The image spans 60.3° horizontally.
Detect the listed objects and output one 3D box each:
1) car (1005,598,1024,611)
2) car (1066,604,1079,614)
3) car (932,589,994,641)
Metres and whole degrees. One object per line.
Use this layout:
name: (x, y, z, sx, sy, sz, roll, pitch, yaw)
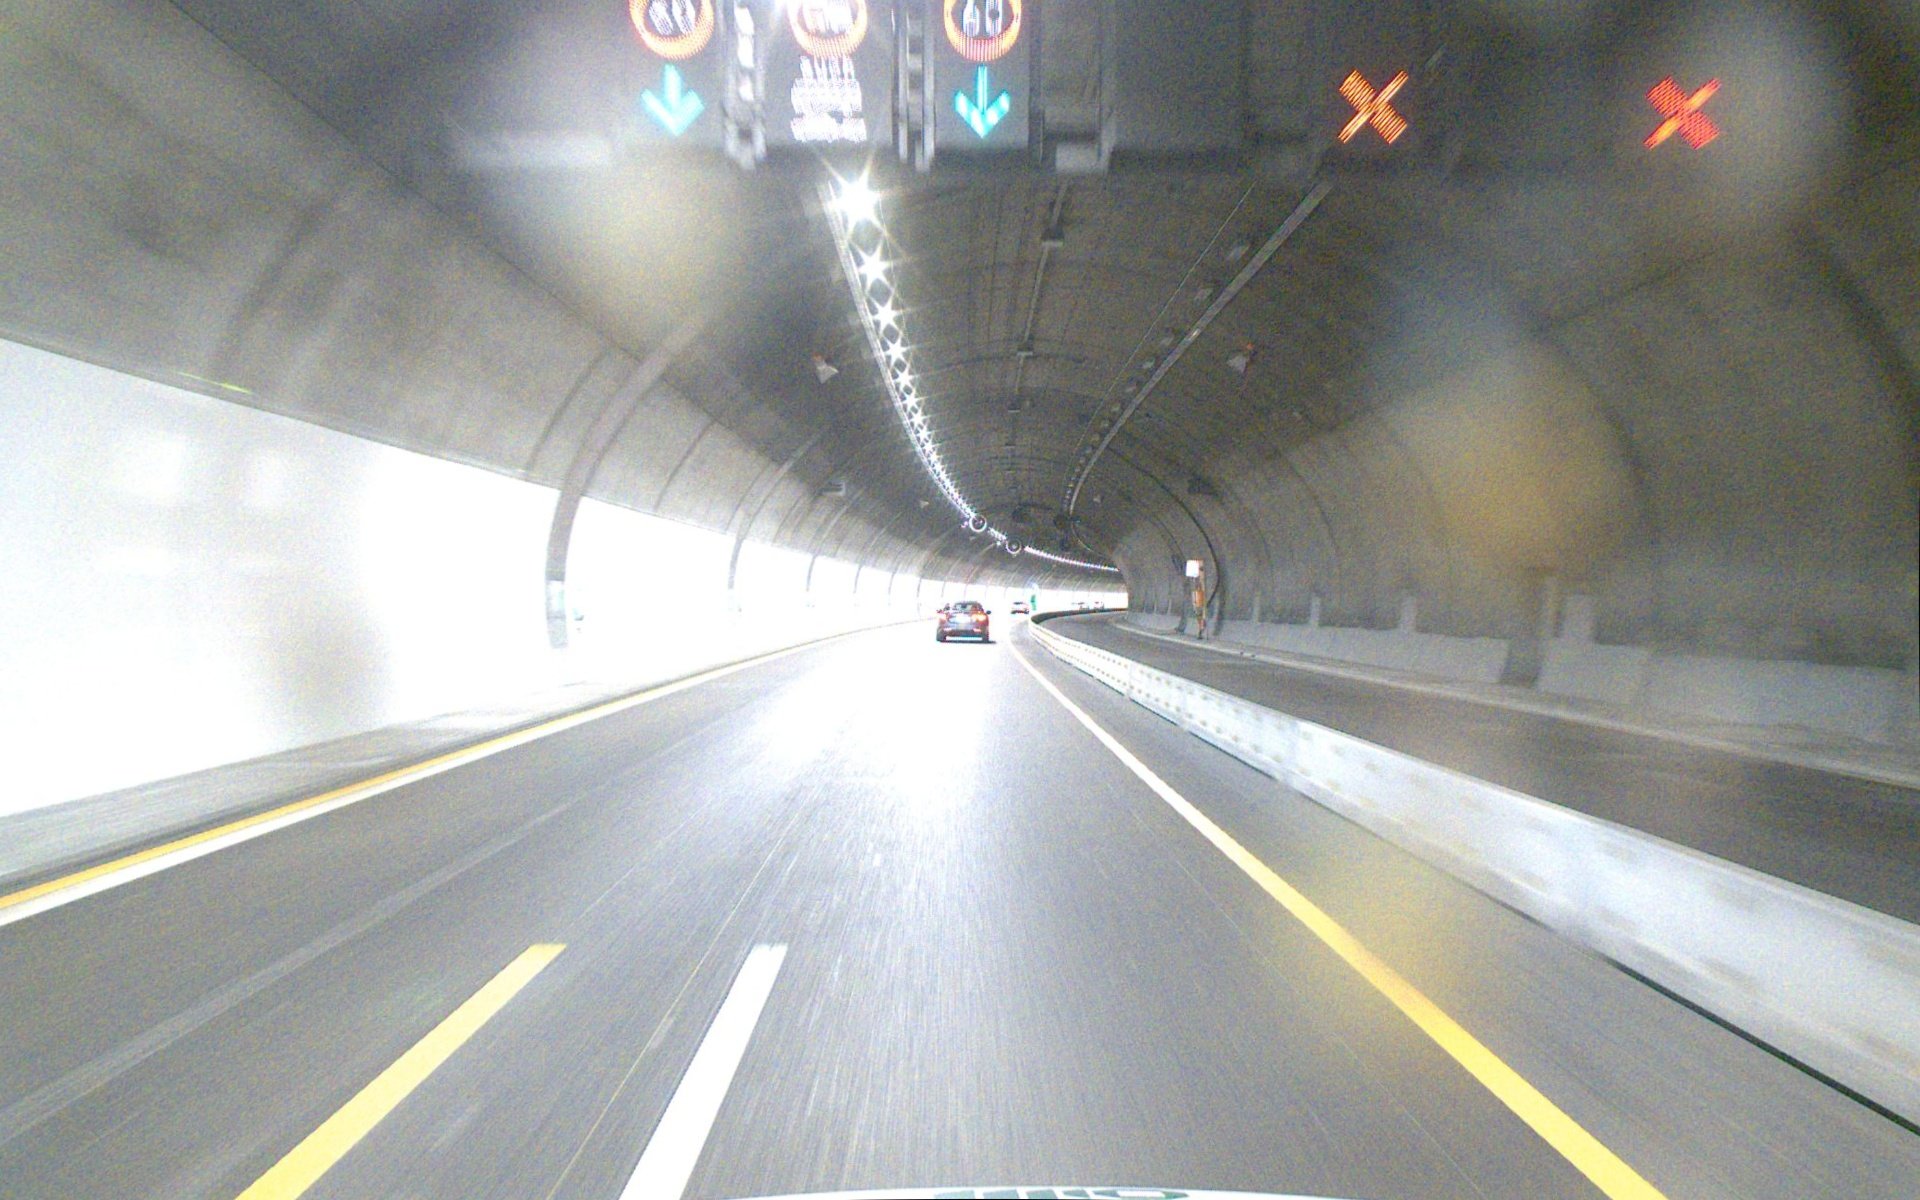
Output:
car: (6.319, 0.493, 190.951, 2.119, 1.512, 4.002, 1, 0, 4)
car: (16.112, 1.284, 236.353, 1.561, 1.356, 3.753, 1, 0, 7)
car: (0.145, 0.508, 58.468, 2.097, 1.736, 4.000, 1, 0, 1)
